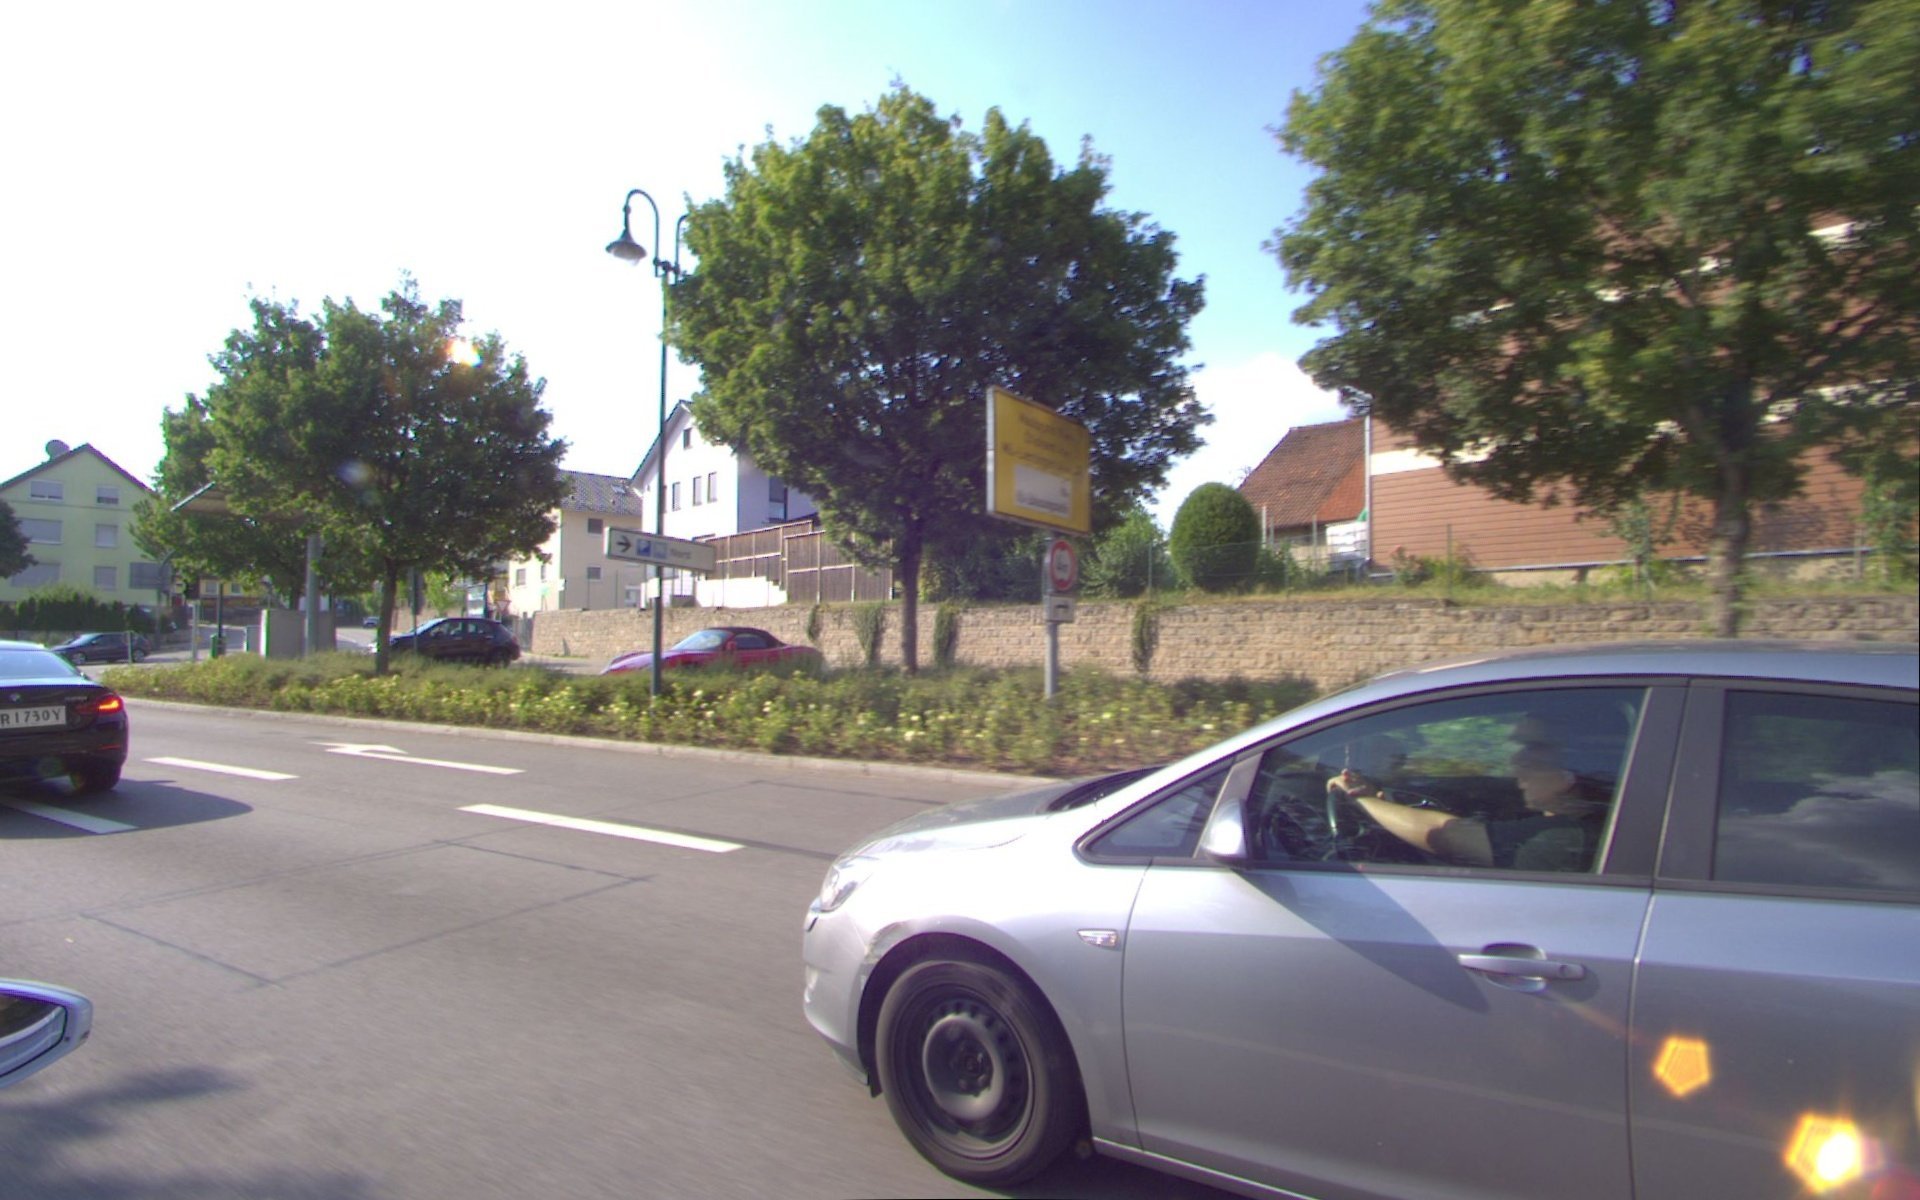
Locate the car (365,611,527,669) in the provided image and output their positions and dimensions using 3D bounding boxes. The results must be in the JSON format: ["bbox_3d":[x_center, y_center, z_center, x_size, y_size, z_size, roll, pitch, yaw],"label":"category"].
[{"bbox_3d":[-15.428,1.213,30.176,1.835,1.628,3.965,-1,-3,44],"label":"car"}]

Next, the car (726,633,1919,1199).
[{"bbox_3d":[1.481,0.829,2.732,4.107,1.460,1.741,-1,-2,32],"label":"car"}]

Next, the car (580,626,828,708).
[{"bbox_3d":[-4.439,1.132,17.803,1.833,1.288,3.969,-1,-3,41],"label":"car"}]

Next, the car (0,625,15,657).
[{"bbox_3d":[-46.588,1.870,45.916,1.847,1.504,4.621,-1,-3,42],"label":"car"}]

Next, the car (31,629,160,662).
[{"bbox_3d":[-39.175,2.067,45.498,1.621,1.404,4.184,0,-2,19],"label":"car"}]

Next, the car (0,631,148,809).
[{"bbox_3d":[-9.361,0.988,9.145,4.286,1.406,1.813,-1,-2,33],"label":"car"}]
